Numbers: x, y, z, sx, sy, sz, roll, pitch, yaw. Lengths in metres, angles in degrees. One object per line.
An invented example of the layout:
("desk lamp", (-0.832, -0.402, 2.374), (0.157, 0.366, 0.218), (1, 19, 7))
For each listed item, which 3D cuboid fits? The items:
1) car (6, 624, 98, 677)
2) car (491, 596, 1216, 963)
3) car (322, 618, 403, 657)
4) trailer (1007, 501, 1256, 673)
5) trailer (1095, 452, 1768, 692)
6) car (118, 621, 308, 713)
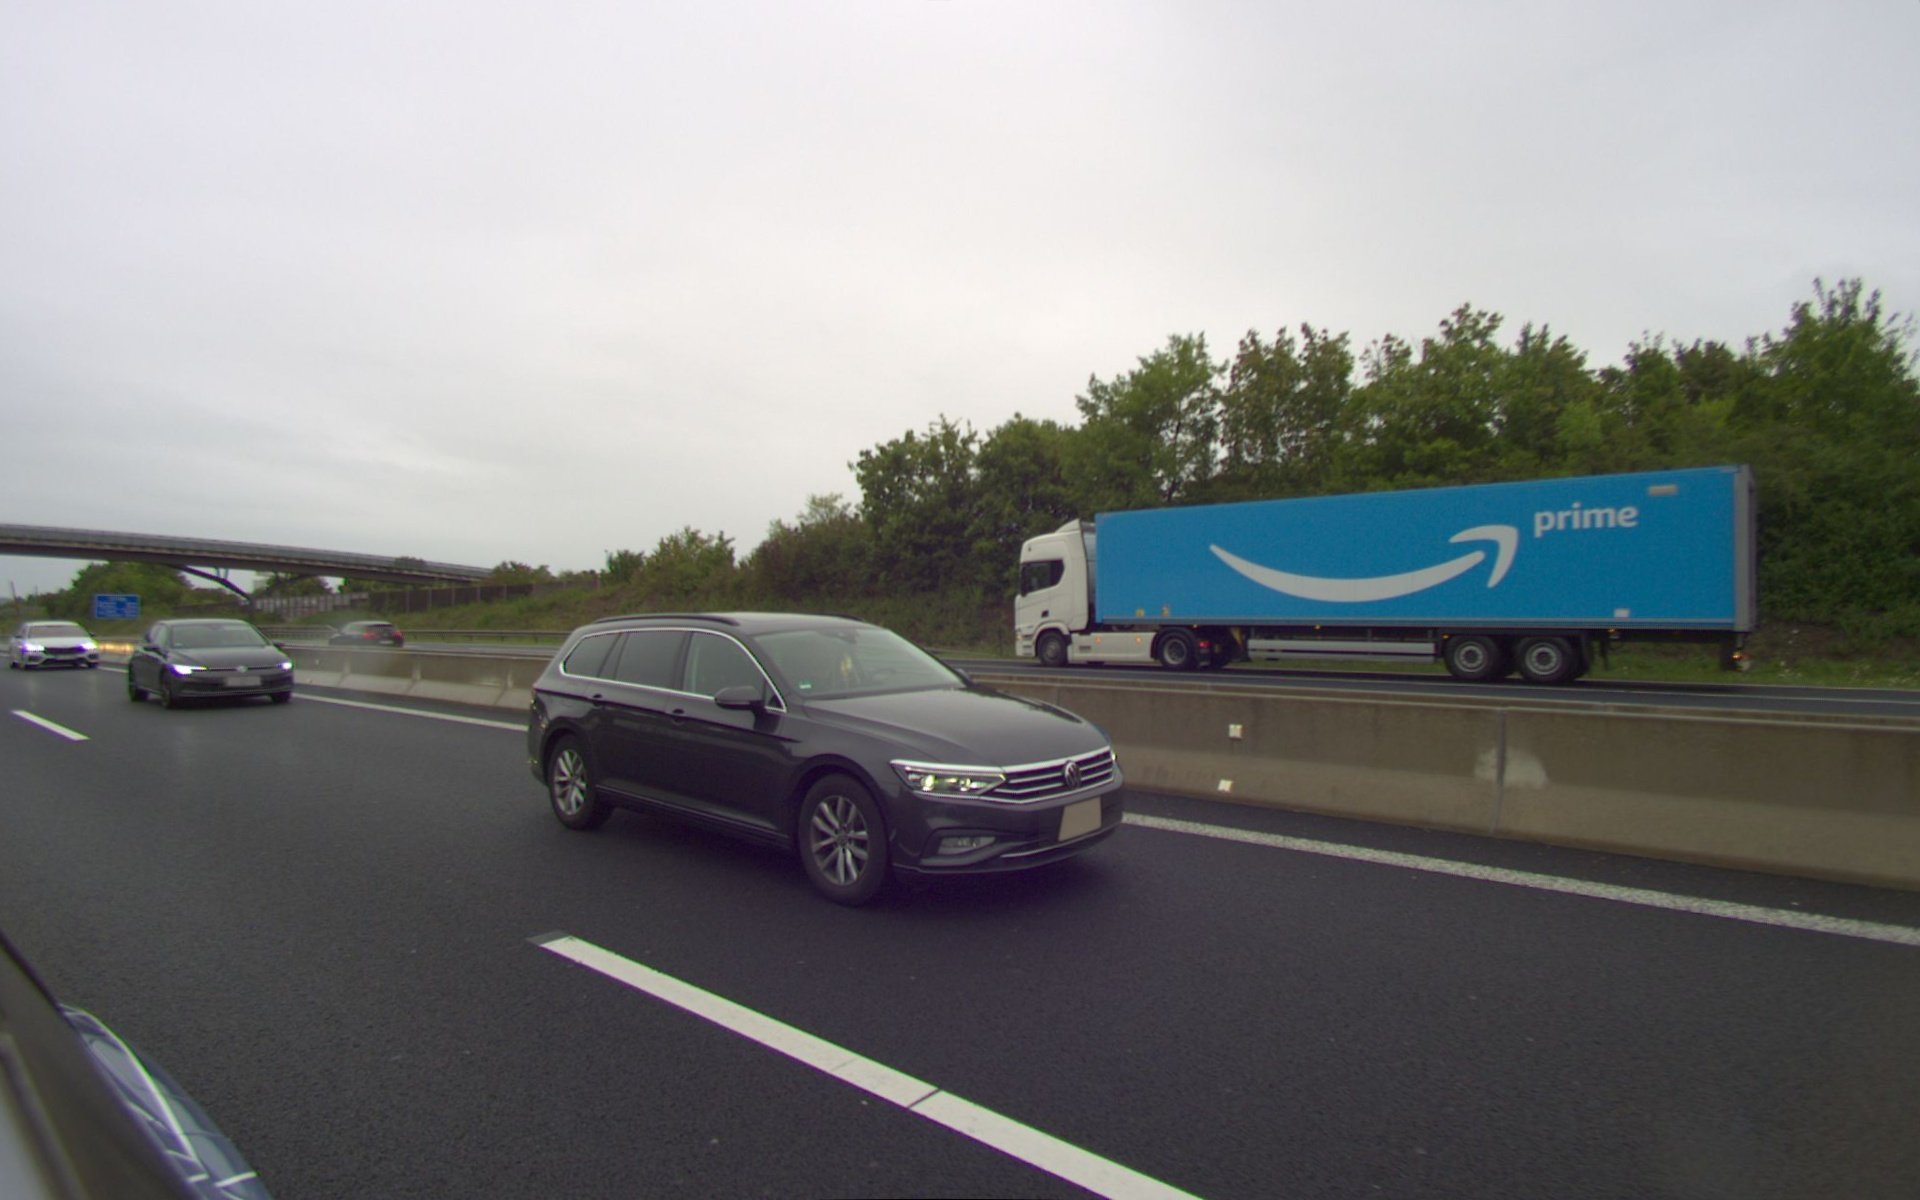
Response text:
("car", (-28.143, 1.504, 31.333), (4.116, 1.518, 1.879), (-1, -1, 45))
("car", (-1.017, 0.786, 6.505), (4.850, 1.508, 1.880), (-1, -1, 42))
("car", (-25.928, 1.583, 43.874), (4.502, 1.583, 1.954), (-2, -2, 45))
("trailer", (4.492, -0.241, 27.235), (6.039, 4.114, 2.760), (-1, -2, 41))
("trailer", (9.505, -0.358, 22.847), (13.519, 4.114, 2.760), (-1, -1, 41))
("car", (-13.218, 1.084, 17.802), (4.459, 1.416, 1.880), (-1, -1, 43))
